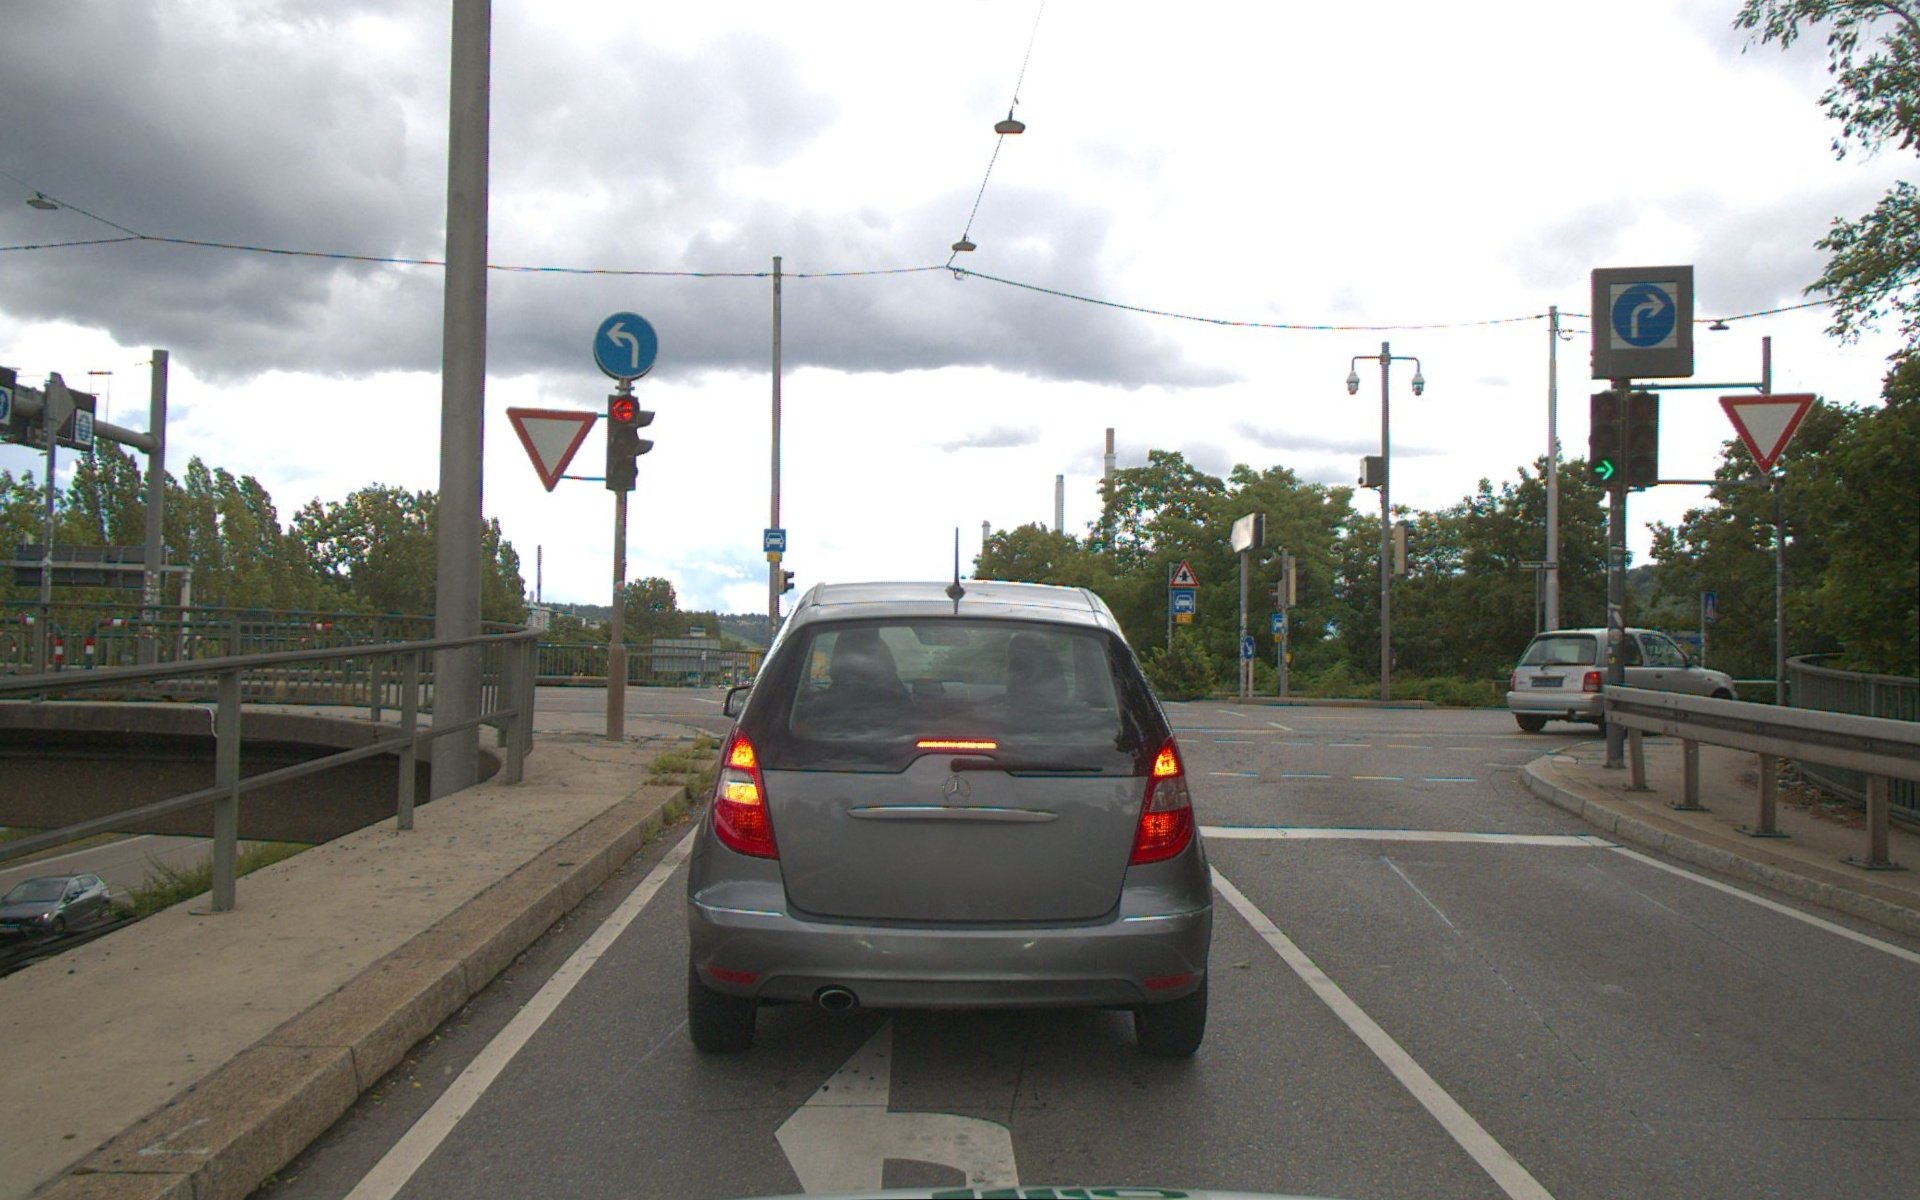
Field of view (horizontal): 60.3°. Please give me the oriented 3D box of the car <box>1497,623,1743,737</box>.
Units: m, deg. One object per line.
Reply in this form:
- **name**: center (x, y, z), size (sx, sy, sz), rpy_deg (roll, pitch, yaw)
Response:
- **car**: center (9.187, 1.053, 22.965), size (3.402, 1.457, 1.571), rpy_deg (1, 0, -35)

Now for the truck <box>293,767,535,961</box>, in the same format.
- **truck**: center (-13.428, 6.371, 41.743), size (2.823, 3.587, 9.869), rpy_deg (-2, -2, 0)

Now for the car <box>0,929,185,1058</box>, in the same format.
- **car**: center (-16.244, 7.156, 30.422), size (1.820, 1.491, 4.424), rpy_deg (1, -3, 0)

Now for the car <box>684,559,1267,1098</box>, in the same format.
- **car**: center (0.031, 0.686, 6.667), size (1.704, 1.570, 3.540), rpy_deg (1, 0, -1)
